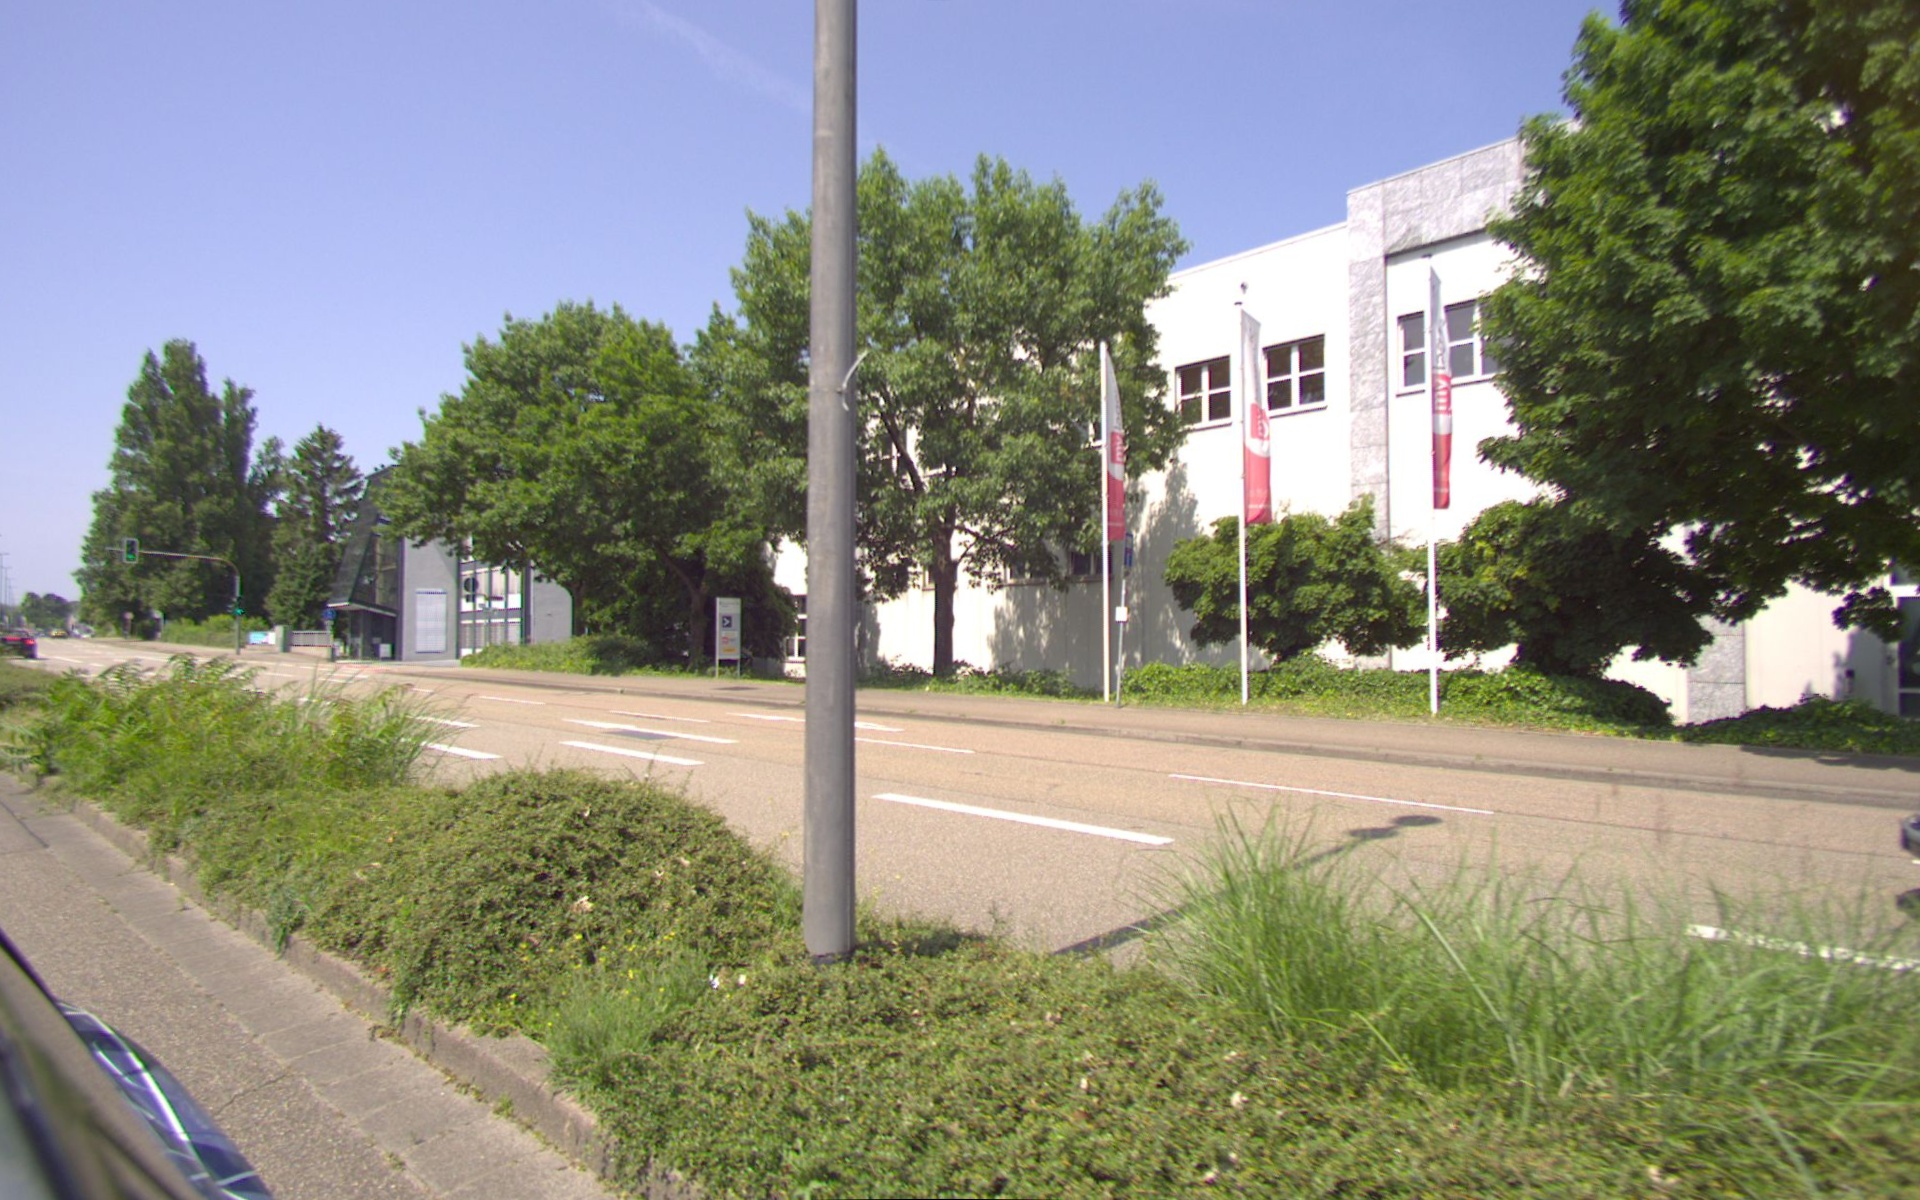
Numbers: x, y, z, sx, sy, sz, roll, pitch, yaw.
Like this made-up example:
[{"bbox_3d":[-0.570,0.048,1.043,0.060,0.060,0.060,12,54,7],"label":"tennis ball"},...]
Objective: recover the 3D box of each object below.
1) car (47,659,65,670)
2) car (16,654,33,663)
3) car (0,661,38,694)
[{"bbox_3d":[-145.607,10.406,163.038,4.288,1.572,1.872,-2,-4,44],"label":"car"},{"bbox_3d":[-152.361,9.539,164.793,4.092,1.429,1.740,-3,-4,43],"label":"car"},{"bbox_3d":[-43.820,3.534,46.497,4.148,1.334,1.710,-2,-3,42],"label":"car"}]
